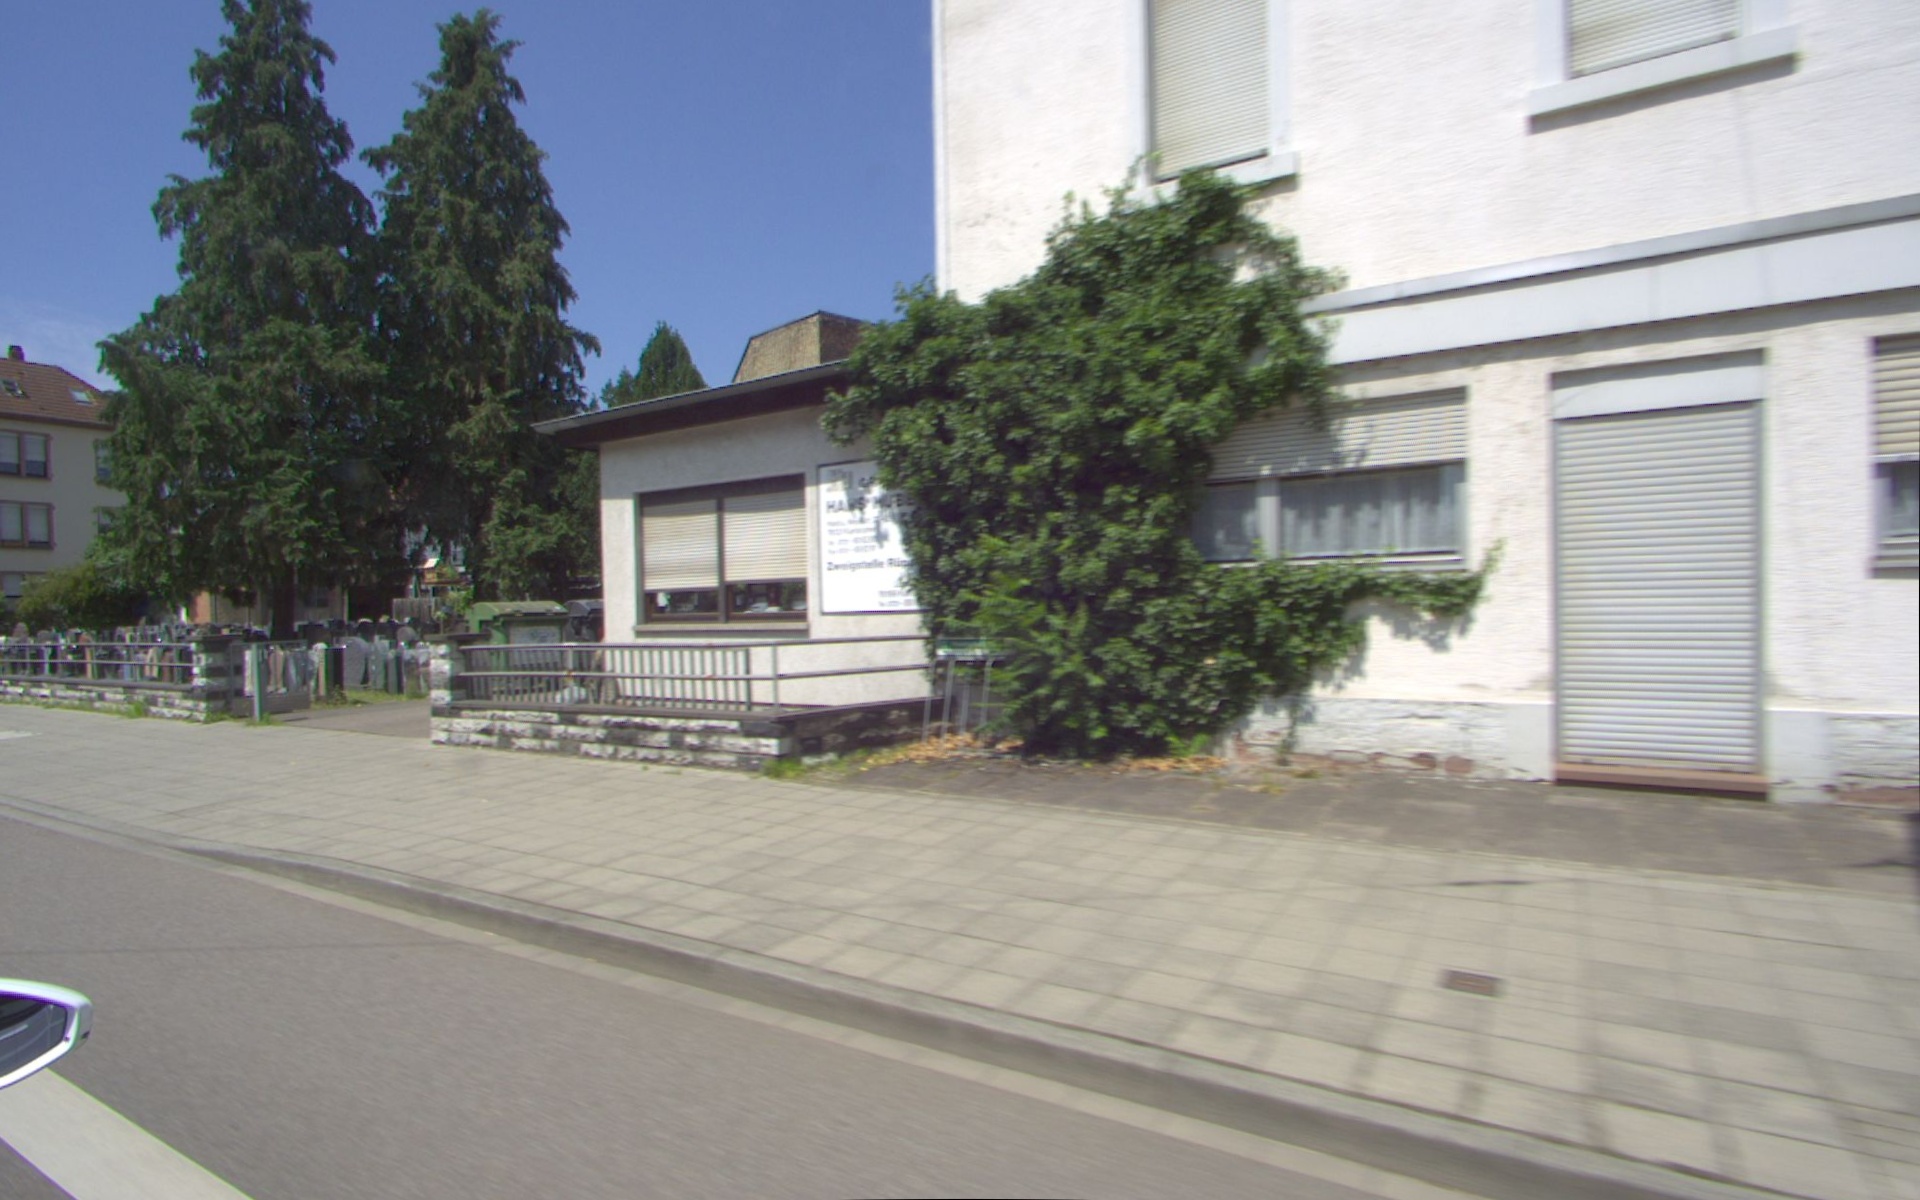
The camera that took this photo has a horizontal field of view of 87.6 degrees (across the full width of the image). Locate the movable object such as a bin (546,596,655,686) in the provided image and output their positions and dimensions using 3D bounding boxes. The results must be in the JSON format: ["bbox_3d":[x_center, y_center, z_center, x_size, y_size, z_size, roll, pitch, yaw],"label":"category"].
[{"bbox_3d":[-6.299,0.687,17.575,1.136,1.501,1.383,-1,0,35],"label":"movable object such as a bin"}]

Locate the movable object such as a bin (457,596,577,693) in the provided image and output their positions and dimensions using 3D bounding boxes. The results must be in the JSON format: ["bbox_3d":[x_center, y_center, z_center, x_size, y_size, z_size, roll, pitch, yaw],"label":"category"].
[{"bbox_3d":[-7.190,0.694,16.297,1.135,1.501,1.384,-1,0,32],"label":"movable object such as a bin"}]
